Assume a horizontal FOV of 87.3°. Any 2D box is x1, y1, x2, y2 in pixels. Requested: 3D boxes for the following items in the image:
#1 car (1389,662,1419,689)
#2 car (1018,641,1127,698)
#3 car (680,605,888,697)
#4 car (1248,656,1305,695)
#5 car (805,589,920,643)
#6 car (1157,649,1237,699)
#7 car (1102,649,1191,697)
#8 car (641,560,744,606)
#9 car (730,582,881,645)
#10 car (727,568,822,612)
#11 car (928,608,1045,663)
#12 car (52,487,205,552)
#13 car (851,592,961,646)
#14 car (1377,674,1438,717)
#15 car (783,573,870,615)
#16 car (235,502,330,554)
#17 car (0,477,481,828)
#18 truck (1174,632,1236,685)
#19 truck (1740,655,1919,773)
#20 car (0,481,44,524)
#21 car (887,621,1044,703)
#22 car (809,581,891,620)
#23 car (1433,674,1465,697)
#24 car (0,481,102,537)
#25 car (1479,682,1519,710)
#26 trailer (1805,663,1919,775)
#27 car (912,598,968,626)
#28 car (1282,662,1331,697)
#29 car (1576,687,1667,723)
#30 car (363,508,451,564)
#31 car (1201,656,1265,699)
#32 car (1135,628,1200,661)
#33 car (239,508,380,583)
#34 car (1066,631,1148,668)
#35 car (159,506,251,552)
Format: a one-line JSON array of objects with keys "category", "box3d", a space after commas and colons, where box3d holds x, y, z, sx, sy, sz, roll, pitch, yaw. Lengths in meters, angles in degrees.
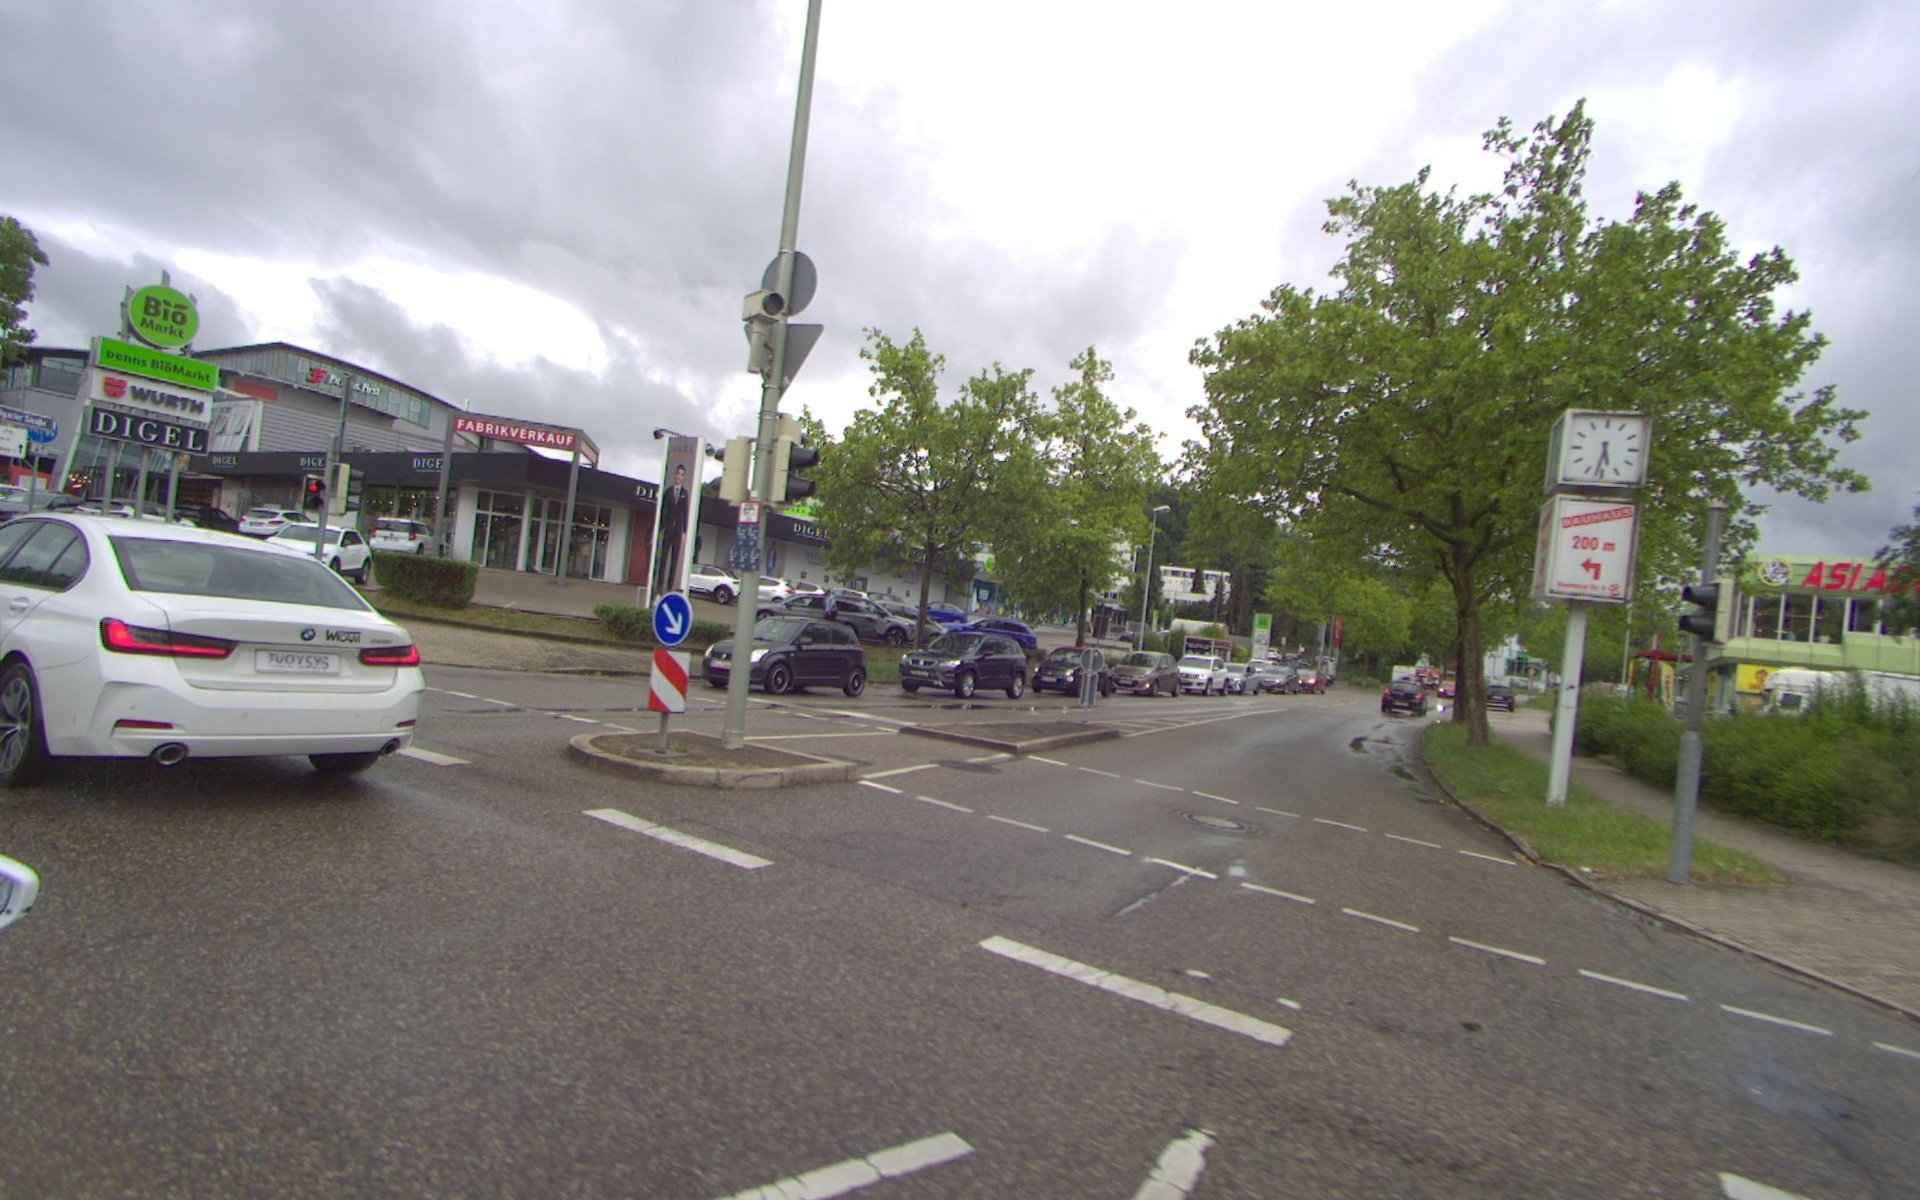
[{"category": "car", "box3d": [42.031, 7.142, 95.125, 1.966, 2.216, 3.994, 7, 0, 30]}, {"category": "car", "box3d": [3.642, 2.240, 31.966, 1.788, 1.507, 3.984, 6, -1, 32]}, {"category": "car", "box3d": [-3.398, 1.058, 20.141, 1.788, 1.507, 3.984, 6, -1, 32]}, {"category": "car", "box3d": [16.990, 4.091, 53.945, 1.824, 1.761, 3.985, 7, -1, 32]}, {"category": "car", "box3d": [-3.686, 0.631, 37.812, 4.083, 1.394, 1.983, 8, -4, -8]}, {"category": "car", "box3d": [10.181, 3.179, 42.969, 1.892, 1.861, 4.333, 6, -1, 32]}, {"category": "car", "box3d": [6.905, 2.700, 36.913, 1.788, 1.465, 3.984, 6, -1, 32]}, {"category": "car", "box3d": [-11.745, -0.729, 44.447, 4.084, 1.498, 1.736, 7, -1, -9]}, {"category": "car", "box3d": [-5.372, 0.457, 34.839, 4.930, 1.504, 1.995, 8, -1, -13]}, {"category": "car", "box3d": [-8.713, -0.462, 47.470, 4.080, 1.499, 1.737, 7, 0, -5]}, {"category": "car", "box3d": [1.200, 1.651, 46.135, 4.850, 1.811, 1.998, 8, -4, -13]}, {"category": "car", "box3d": [-27.460, -2.606, 33.427, 1.948, 1.684, 4.020, 7, 1, -7]}, {"category": "car", "box3d": [-2.223, 0.797, 40.606, 4.155, 1.596, 2.000, 8, -4, -8]}, {"category": "car", "box3d": [20.008, 4.257, 44.918, 1.966, 1.548, 3.995, 7, -1, 30]}, {"category": "car", "box3d": [-6.646, -0.283, 50.018, 4.084, 1.498, 1.736, 7, -1, -9]}, {"category": "car", "box3d": [-30.388, -3.203, 45.256, 1.708, 1.792, 4.150, 7, -1, -7]}, {"category": "car", "box3d": [-5.408, 0.156, 6.528, 4.543, 1.561, 1.806, 6, -3, 31]}, {"category": "truck", "box3d": [12.914, 3.120, 52.870, 1.788, 2.515, 3.984, 6, -1, 32]}, {"category": "truck", "box3d": [35.020, 4.554, 40.494, 5.052, 3.758, 3.159, 8, -2, 32]}, {"category": "car", "box3d": [-38.869, -4.029, 39.980, 1.766, 1.554, 3.594, 7, 0, -7]}, {"category": "car", "box3d": [0.234, 1.608, 25.321, 1.712, 1.565, 4.145, 5, -4, 37]}, {"category": "car", "box3d": [-5.825, 0.038, 53.134, 4.084, 1.498, 1.736, 7, -1, -9]}, {"category": "car", "box3d": [40.371, 7.071, 83.019, 1.966, 1.548, 3.995, 7, -1, 30]}, {"category": "car", "box3d": [-32.682, -3.225, 35.667, 1.615, 1.554, 3.595, 7, -1, -7]}, {"category": "car", "box3d": [34.036, 6.063, 63.442, 1.966, 1.459, 3.995, 7, -1, 30]}, {"category": "trailer", "box3d": [40.806, 5.325, 36.748, 14.568, 3.758, 3.159, 8, -2, 33]}, {"category": "car", "box3d": [-1.260, 0.753, 62.152, 3.190, 1.285, 1.538, 7, -1, -9]}, {"category": "car", "box3d": [20.611, 4.719, 59.787, 1.787, 1.761, 3.985, 7, -1, 32]}, {"category": "car", "box3d": [39.490, 6.251, 60.117, 3.923, 1.459, 2.002, 7, -1, 10]}, {"category": "car", "box3d": [-22.172, -2.507, 40.498, 1.709, 1.792, 4.147, 7, -1, -11]}, {"category": "car", "box3d": [13.026, 3.679, 47.855, 1.788, 1.762, 3.984, 6, -1, 32]}, {"category": "car", "box3d": [14.952, 3.173, 72.527, 3.935, 1.815, 1.996, 7, -1, 34]}, {"category": "car", "box3d": [-17.387, -1.390, 27.137, 1.903, 1.595, 4.274, 7, -1, -16]}, {"category": "car", "box3d": [8.874, 2.983, 60.755, 4.366, 1.638, 1.934, 7, -1, 31]}, {"category": "car", "box3d": [-36.210, -3.363, 48.359, 1.606, 1.741, 3.972, 7, -1, -7]}]
